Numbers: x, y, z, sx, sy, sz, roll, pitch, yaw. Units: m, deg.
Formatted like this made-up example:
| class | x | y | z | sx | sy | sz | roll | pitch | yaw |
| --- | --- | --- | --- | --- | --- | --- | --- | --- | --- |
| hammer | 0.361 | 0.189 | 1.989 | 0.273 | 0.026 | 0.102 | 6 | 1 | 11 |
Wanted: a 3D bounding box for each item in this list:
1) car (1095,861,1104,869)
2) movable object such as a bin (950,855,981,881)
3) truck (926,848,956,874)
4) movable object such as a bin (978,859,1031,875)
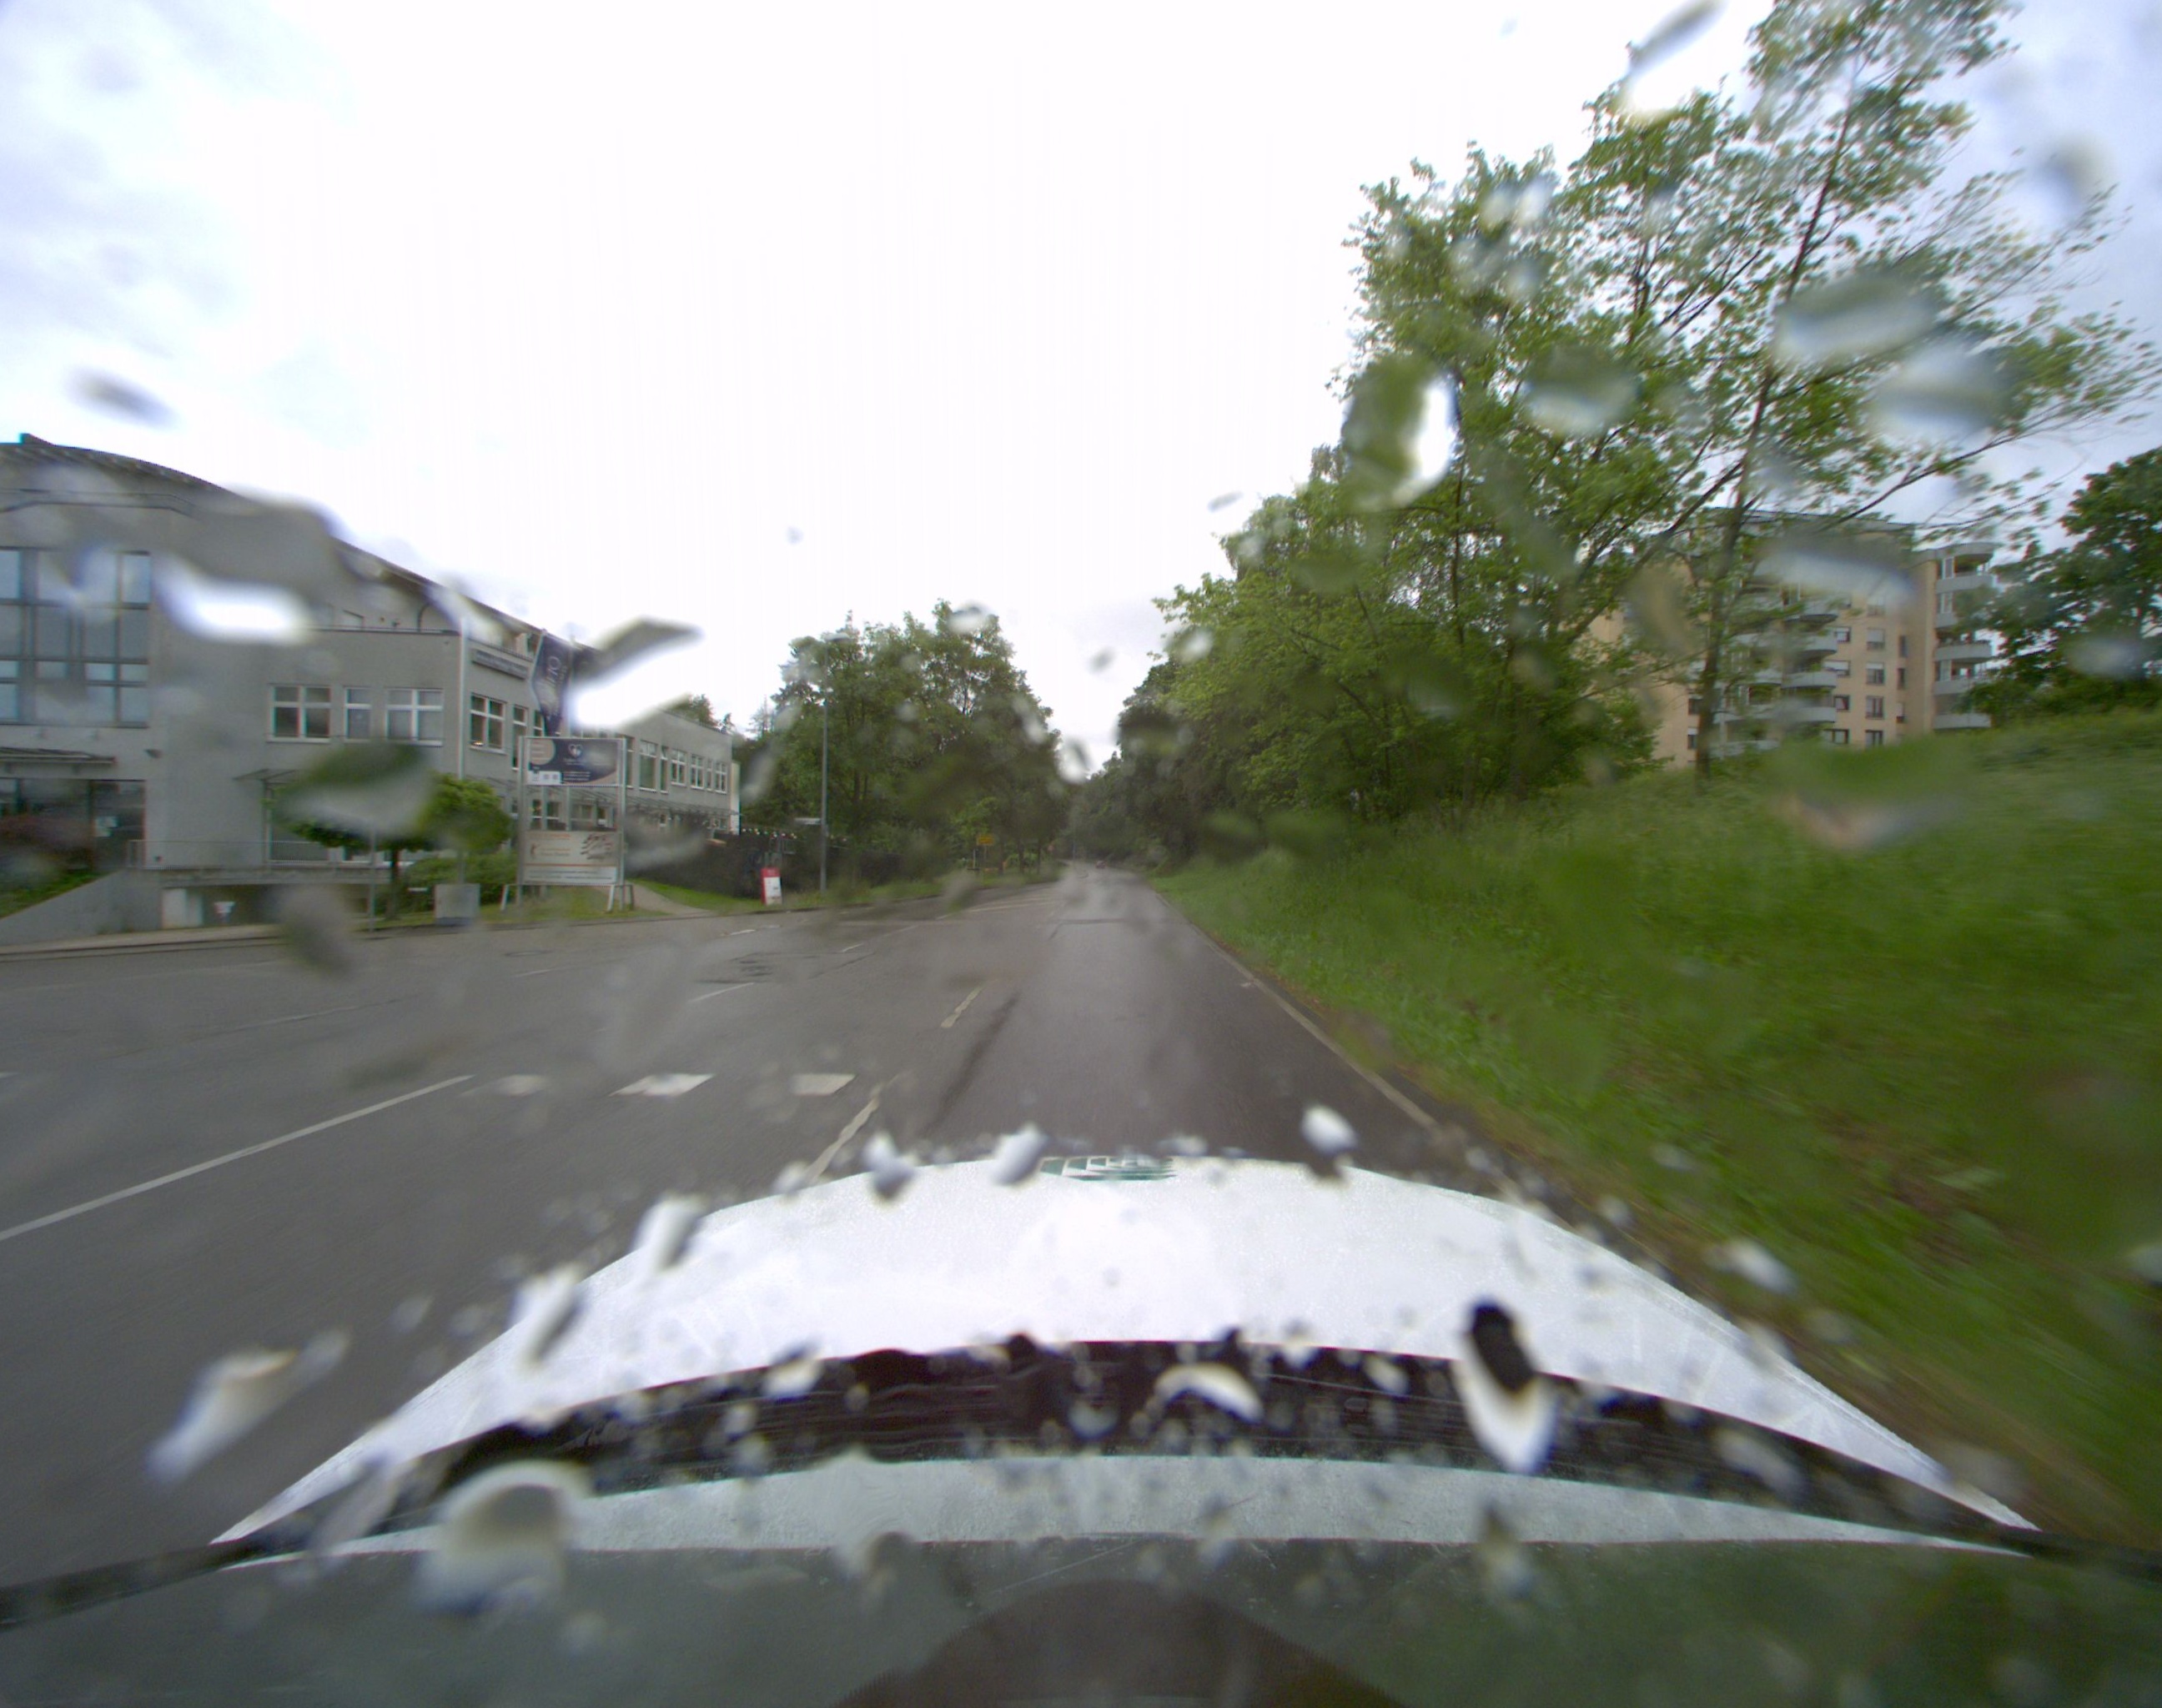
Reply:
| class | x | y | z | sx | sy | sz | roll | pitch | yaw |
| --- | --- | --- | --- | --- | --- | --- | --- | --- | --- |
| car | 3.821 | 2.335 | 170.066 | 1.730 | 1.510 | 4.000 | -2 | 0 | 1 |
| movable object such as a bin | -13.205 | 1.641 | 93.359 | 1.978 | 2.861 | 4.018 | 0 | -1 | 18 |
| truck | -14.050 | 0.670 | 82.151 | 1.987 | 2.458 | 5.223 | 1 | 0 | 1 |
| movable object such as a bin | -9.313 | 1.576 | 99.973 | 1.828 | 1.908 | 7.957 | -1 | -1 | 34 |
